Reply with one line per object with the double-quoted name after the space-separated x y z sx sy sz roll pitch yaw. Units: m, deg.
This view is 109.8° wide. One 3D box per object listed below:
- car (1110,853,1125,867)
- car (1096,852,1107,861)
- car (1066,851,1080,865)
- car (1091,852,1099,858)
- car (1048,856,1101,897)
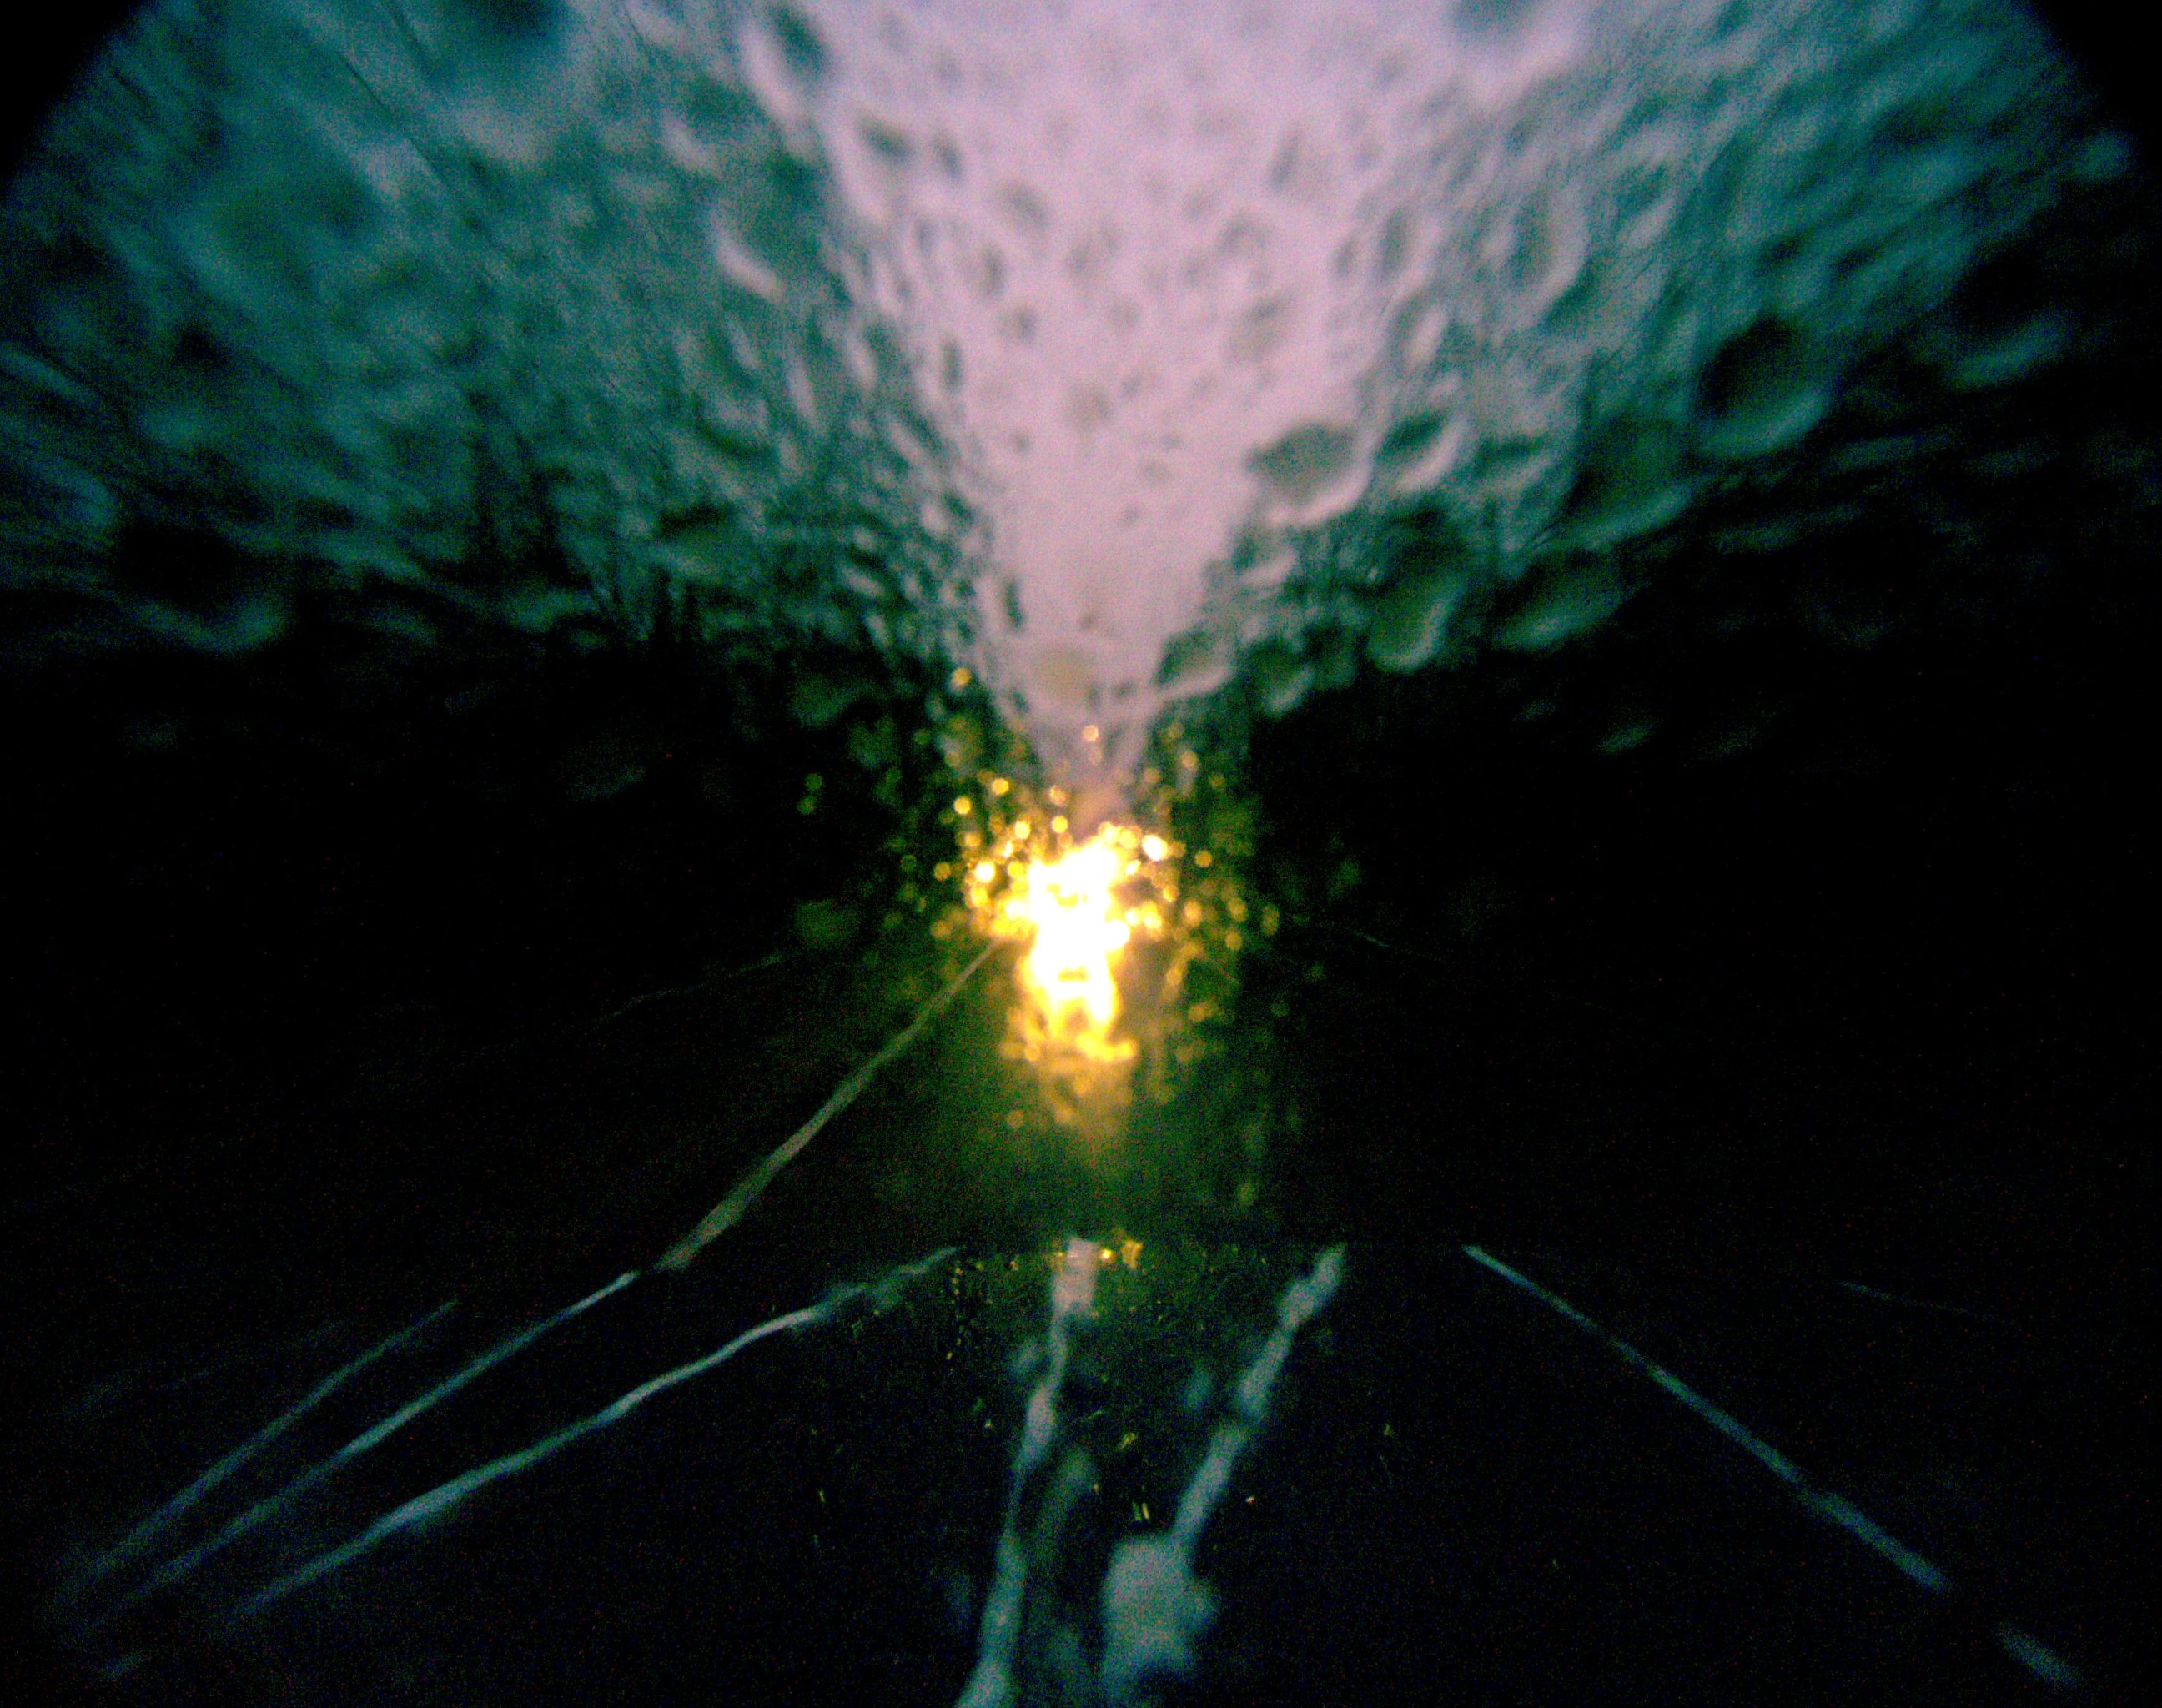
5.546 0.856 116.244 1.998 2.002 3.999 -2 1 0 "car"
4.100 0.441 149.730 1.998 1.652 3.999 -2 1 0 "car"
-1.151 0.537 113.006 1.998 2.002 3.999 -2 1 0 "car"
3.717 0.295 202.260 1.998 1.652 4.569 -2 1 0 "car"
-0.176 0.787 28.722 1.845 1.390 4.000 -1 0 2 "car"
